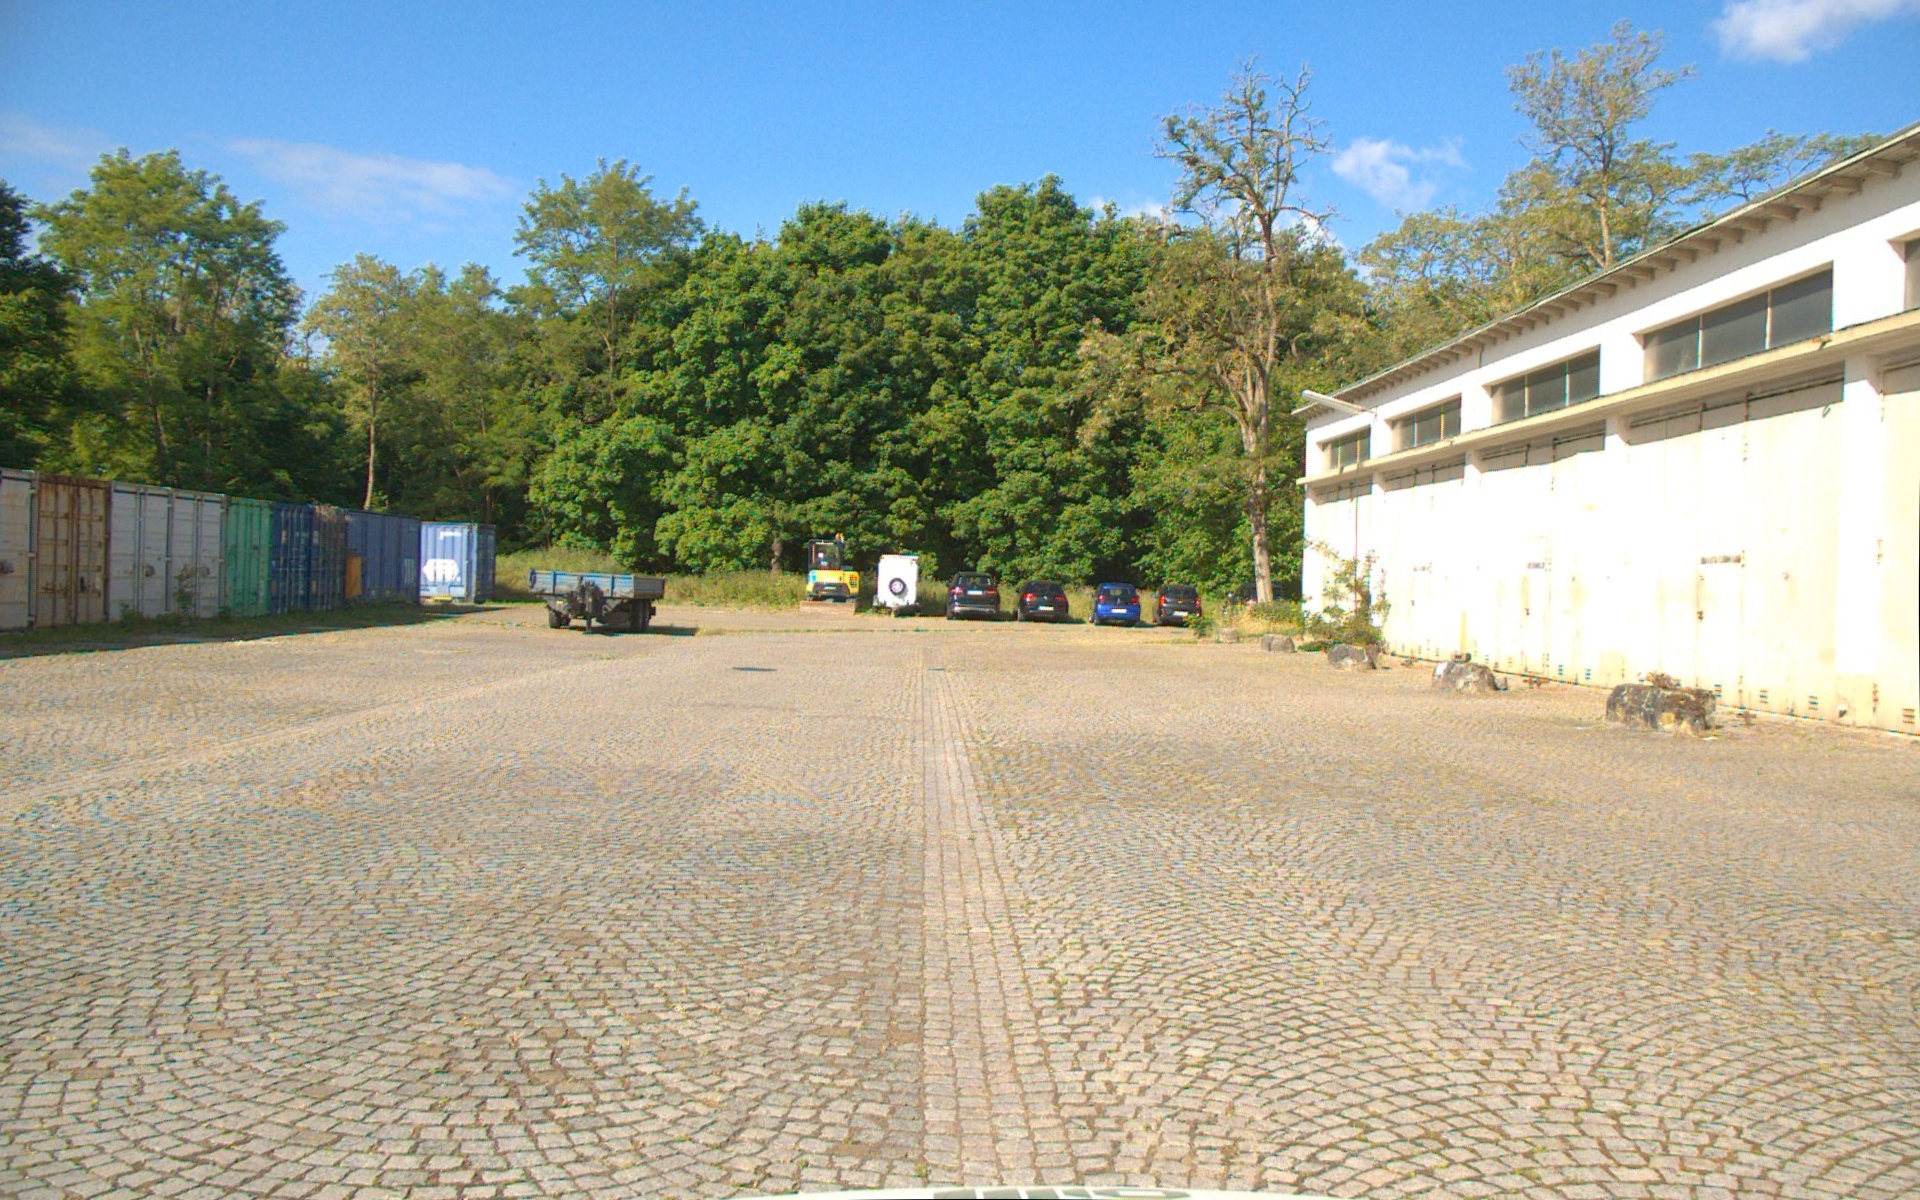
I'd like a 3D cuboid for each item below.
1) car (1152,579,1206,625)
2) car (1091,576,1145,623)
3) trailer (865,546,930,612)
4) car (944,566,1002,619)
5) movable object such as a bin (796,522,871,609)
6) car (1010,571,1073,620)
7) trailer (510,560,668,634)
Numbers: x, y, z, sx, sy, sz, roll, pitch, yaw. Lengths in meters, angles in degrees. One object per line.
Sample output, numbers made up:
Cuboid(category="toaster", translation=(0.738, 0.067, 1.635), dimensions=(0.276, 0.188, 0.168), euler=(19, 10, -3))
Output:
Cuboid(category="car", translation=(7.926, 0.053, 60.148), dimensions=(1.707, 1.461, 4.186), euler=(3, 2, 5))
Cuboid(category="car", translation=(5.560, -0.042, 58.668), dimensions=(1.708, 1.461, 4.185), euler=(3, 2, 4))
Cuboid(category="trailer", translation=(-2.270, -0.825, 60.503), dimensions=(2.149, 2.130, 5.750), euler=(3, 2, -2))
Cuboid(category="car", translation=(0.422, -0.290, 58.209), dimensions=(1.826, 1.616, 4.295), euler=(3, 2, -2))
Cuboid(category="movable object such as a bin", translation=(-4.601, -1.314, 61.023), dimensions=(2.259, 2.946, 5.751), euler=(3, 2, -1))
Cuboid(category="car", translation=(2.851, -0.183, 58.648), dimensions=(1.826, 1.495, 4.295), euler=(3, 2, -2))
Cuboid(category="trailer", translation=(-8.866, -0.151, 40.220), dimensions=(2.652, 1.491, 6.245), euler=(3, 1, -3))
